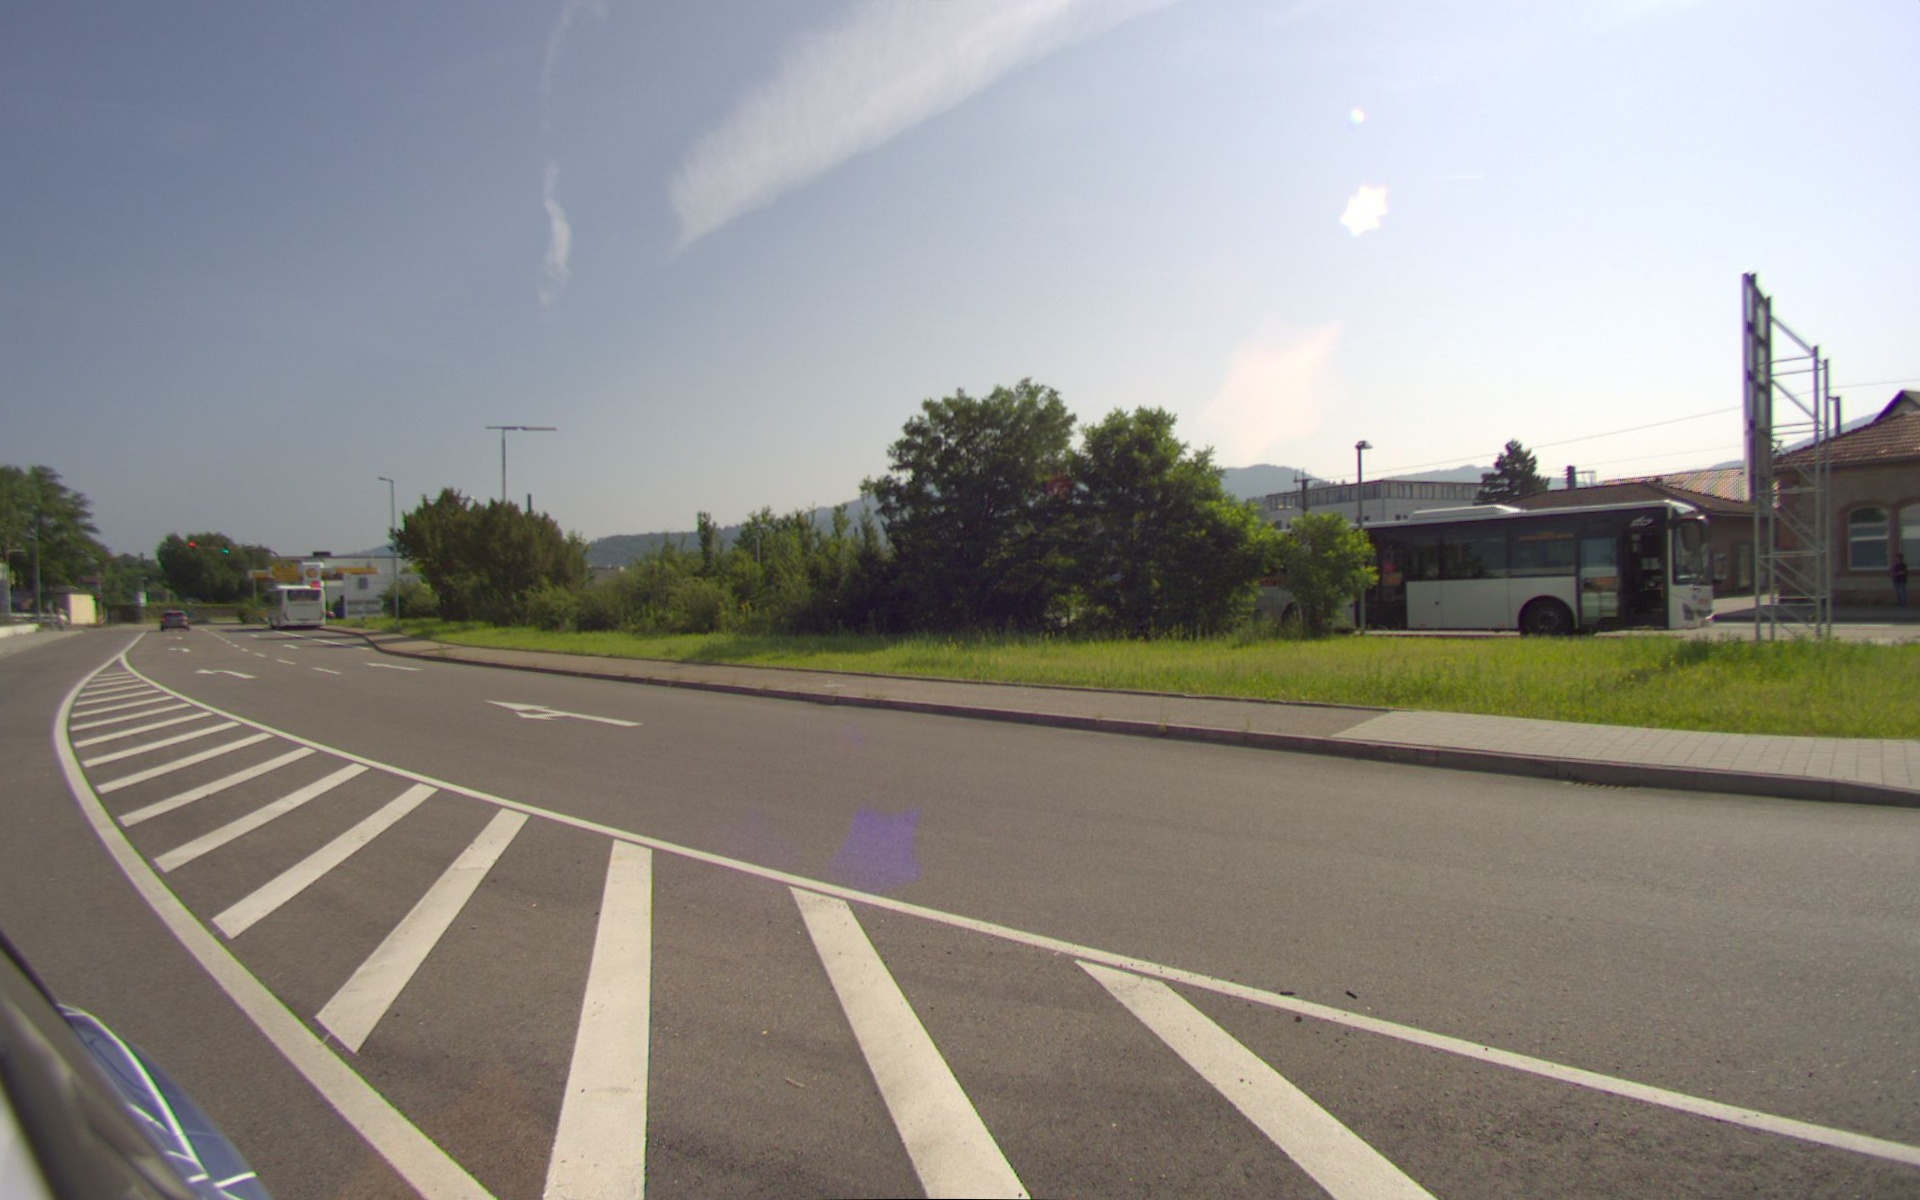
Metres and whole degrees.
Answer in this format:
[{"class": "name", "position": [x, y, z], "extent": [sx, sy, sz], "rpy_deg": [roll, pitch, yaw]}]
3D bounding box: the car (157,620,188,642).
[{"class": "car", "position": [-58.102, 2.284, 74.733], "extent": [1.749, 1.484, 4.228], "rpy_deg": [-1, 0, -38]}]

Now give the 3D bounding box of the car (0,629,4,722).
[{"class": "car", "position": [-13.596, 1.106, 12.609], "extent": [1.839, 1.340, 4.242], "rpy_deg": [-2, 0, -35]}]

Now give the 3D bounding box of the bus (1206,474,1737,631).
[{"class": "bus", "position": [12.211, -0.879, 25.871], "extent": [3.028, 3.147, 11.734], "rpy_deg": [-2, 0, -42]}]

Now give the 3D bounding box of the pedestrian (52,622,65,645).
[{"class": "pedestrian", "position": [-67.347, 2.462, 75.606], "extent": [0.593, 1.684, 0.702], "rpy_deg": [-1, 0, 45]}]

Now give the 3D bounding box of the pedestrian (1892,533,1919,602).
[{"class": "pedestrian", "position": [28.456, -0.962, 30.319], "extent": [0.521, 2.029, 0.579], "rpy_deg": [-1, 0, -17]}]

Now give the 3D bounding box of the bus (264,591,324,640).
[{"class": "bus", "position": [-49.395, 1.080, 74.885], "extent": [2.587, 3.335, 11.980], "rpy_deg": [-1, 0, -39]}]
